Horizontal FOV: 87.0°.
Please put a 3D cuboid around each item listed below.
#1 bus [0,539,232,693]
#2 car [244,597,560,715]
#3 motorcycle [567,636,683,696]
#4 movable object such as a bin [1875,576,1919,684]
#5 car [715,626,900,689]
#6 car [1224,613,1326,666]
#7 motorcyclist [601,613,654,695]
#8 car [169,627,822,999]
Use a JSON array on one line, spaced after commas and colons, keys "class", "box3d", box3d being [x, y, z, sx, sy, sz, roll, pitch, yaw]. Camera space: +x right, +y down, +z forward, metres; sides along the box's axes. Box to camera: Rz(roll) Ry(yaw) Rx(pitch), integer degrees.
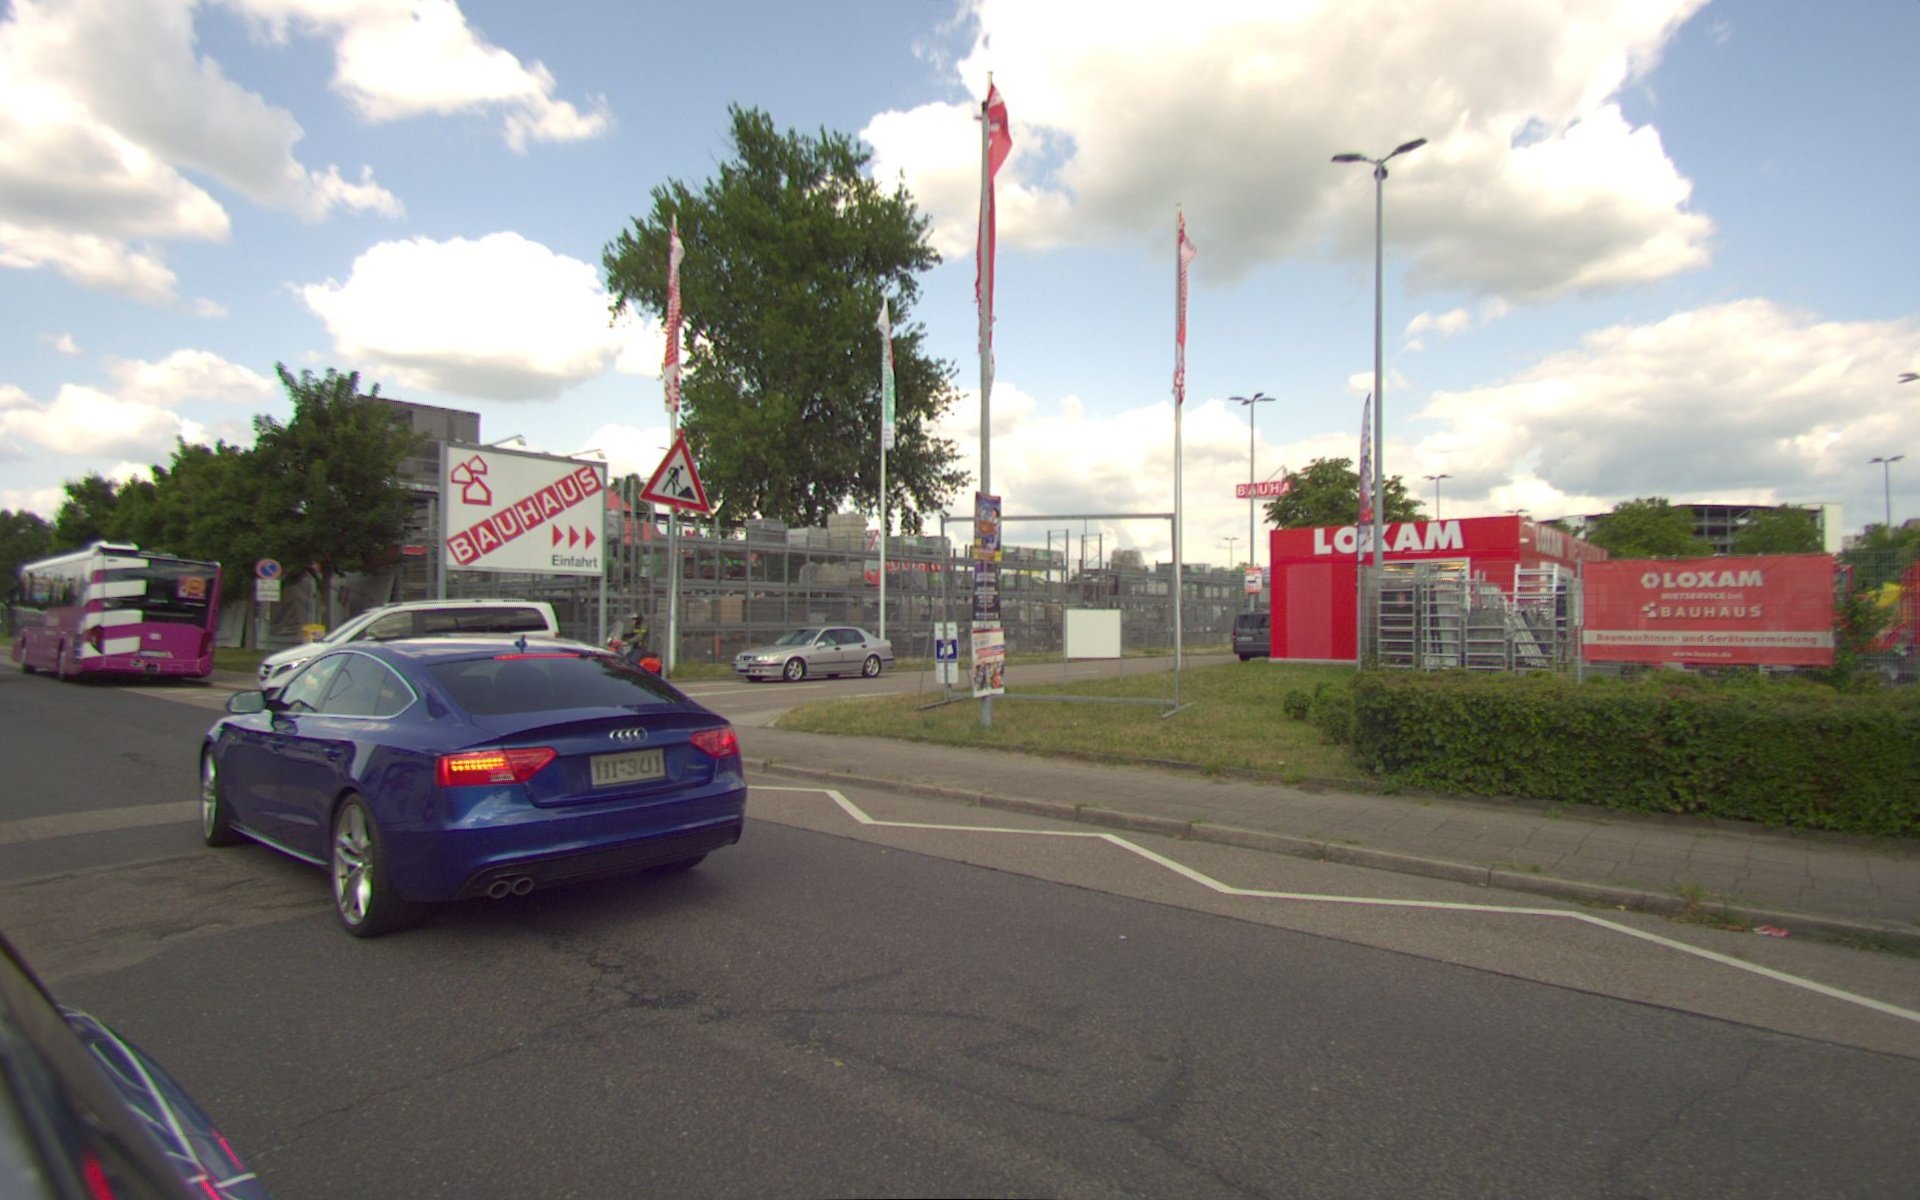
[{"class": "bus", "box3d": [-23.901, 0.559, 28.218, 13.210, 3.449, 2.635, -1, -5, 41]}, {"class": "car", "box3d": [-10.464, 0.982, 19.266, 4.942, 1.964, 1.994, 1, -2, -44]}, {"class": "motorcycle", "box3d": [-7.289, 1.413, 22.108, 0.994, 1.223, 2.198, -2, -2, 41]}, {"class": "movable object such as a bin", "box3d": [21.917, 0.637, 21.528, 3.543, 2.292, 1.973, -2, -2, 41]}, {"class": "car", "box3d": [-3.894, 1.425, 26.445, 1.954, 1.465, 4.634, -2, -2, 42]}, {"class": "car", "box3d": [11.762, 1.420, 37.569, 2.108, 1.859, 4.498, -1, -2, 39]}, {"class": "motorcyclist", "box3d": [-7.271, 1.160, 22.125, 0.994, 1.736, 0.667, -2, -3, 42]}, {"class": "car", "box3d": [-2.976, 0.862, 5.983, 4.377, 1.387, 1.903, -2, -2, 41]}]
